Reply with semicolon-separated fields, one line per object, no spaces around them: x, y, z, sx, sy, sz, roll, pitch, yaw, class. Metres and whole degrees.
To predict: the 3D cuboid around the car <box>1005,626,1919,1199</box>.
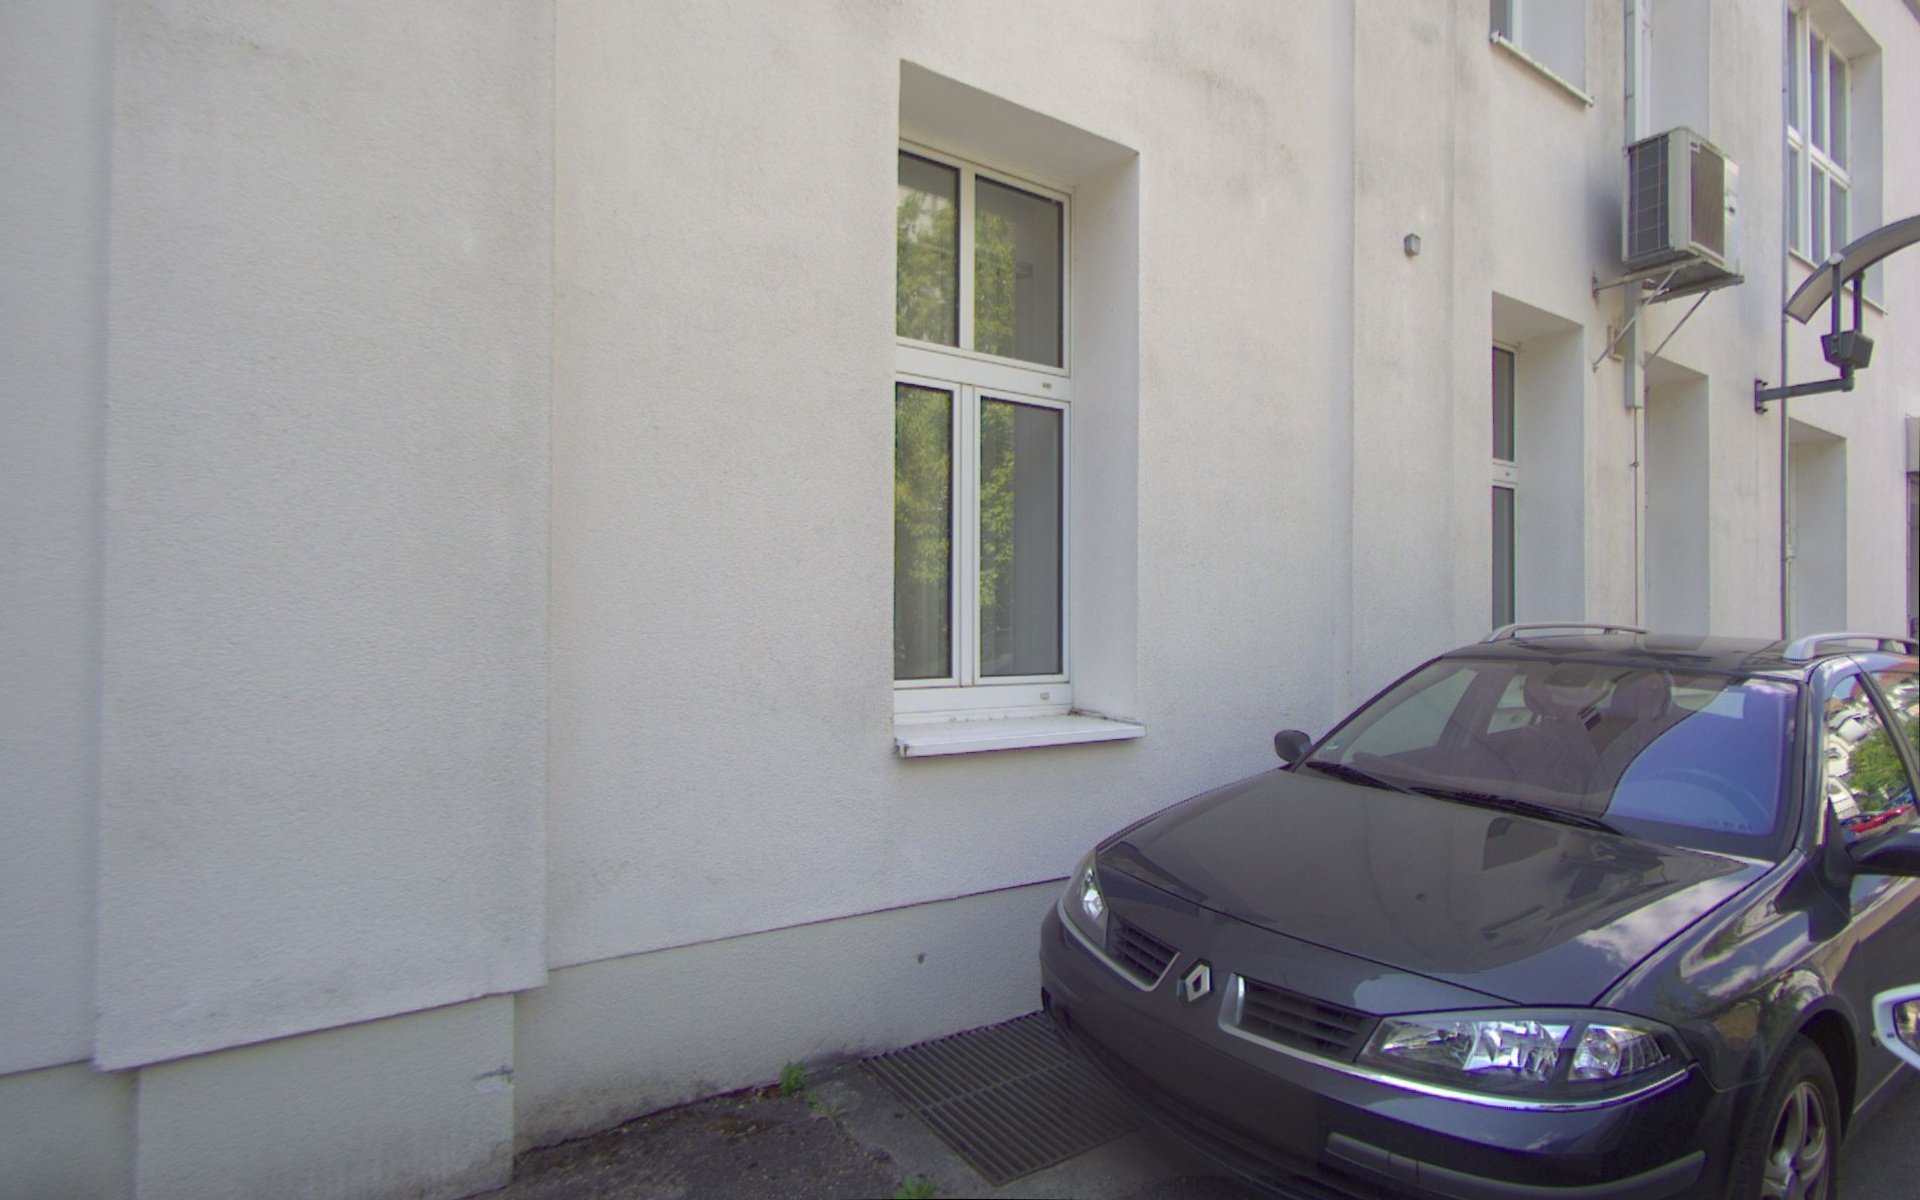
2.393;0.827;3.584;4.343;1.449;1.743;1;-1;-36;car

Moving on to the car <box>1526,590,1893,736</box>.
12.059;0.903;16.481;1.960;2.052;4.452;1;-1;-34;car
